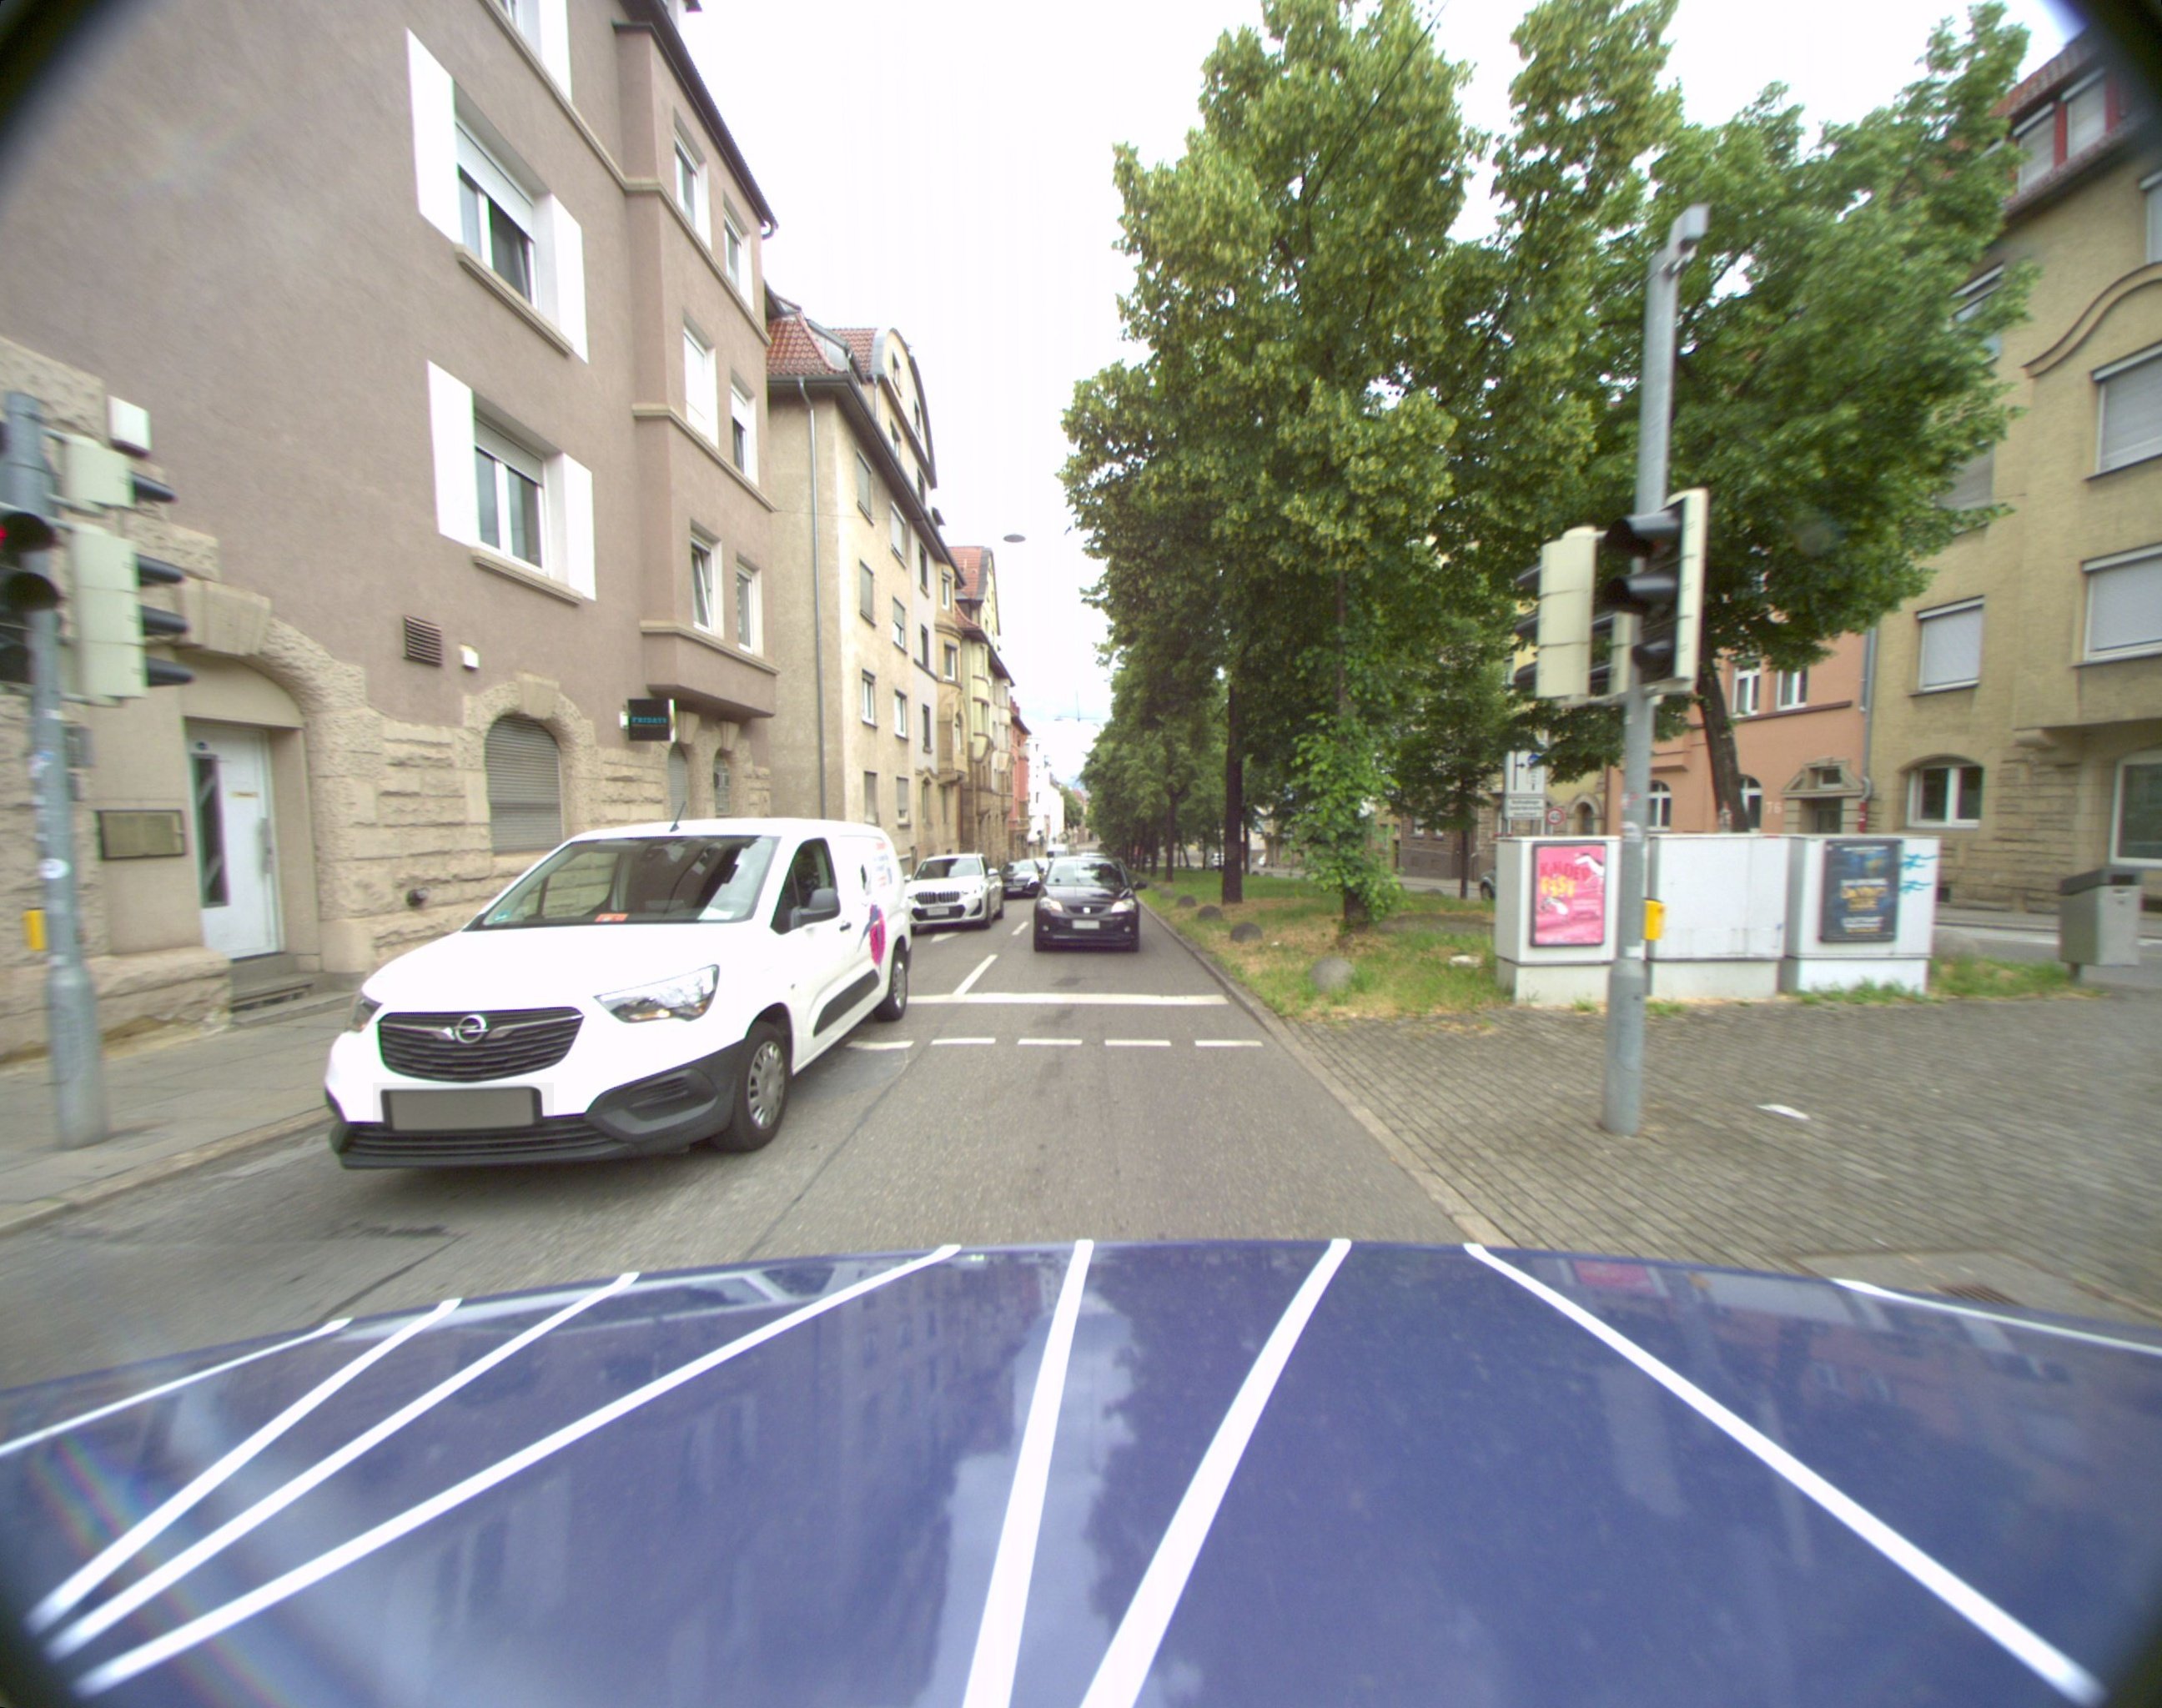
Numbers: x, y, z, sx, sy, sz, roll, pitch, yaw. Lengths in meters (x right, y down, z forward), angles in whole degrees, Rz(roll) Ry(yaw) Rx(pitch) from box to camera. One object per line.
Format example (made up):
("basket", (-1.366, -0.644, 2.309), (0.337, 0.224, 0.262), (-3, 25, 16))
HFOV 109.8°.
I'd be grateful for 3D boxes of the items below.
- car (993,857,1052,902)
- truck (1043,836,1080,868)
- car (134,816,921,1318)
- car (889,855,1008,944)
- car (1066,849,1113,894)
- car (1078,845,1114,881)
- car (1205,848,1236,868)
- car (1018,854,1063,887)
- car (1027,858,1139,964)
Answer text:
("car", (-2.136, 0.904, 28.744), (1.780, 1.434, 4.163), (-3, 1, 0))
("truck", (-1.773, -0.265, 73.448), (2.551, 2.891, 7.779), (0, 1, 6))
("car", (-2.519, 0.745, 5.209), (1.789, 1.779, 4.842), (-2, 1, -1))
("car", (-2.760, 0.882, 16.796), (1.780, 1.598, 4.163), (-3, 1, 0))
("car", (0.310, 0.674, 31.150), (1.784, 1.584, 3.531), (1, 3, -1))
("car", (0.738, 0.415, 38.528), (1.696, 1.584, 3.532), (1, 3, 0))
("car", (12.521, 0.351, 68.321), (1.942, 1.625, 4.518), (-1, 1, 0))
("car", (-1.980, 0.792, 38.367), (1.841, 1.477, 4.000), (0, 1, 3))
("car", (0.045, 0.830, 12.741), (1.604, 1.449, 3.684), (0, 1, 0))
